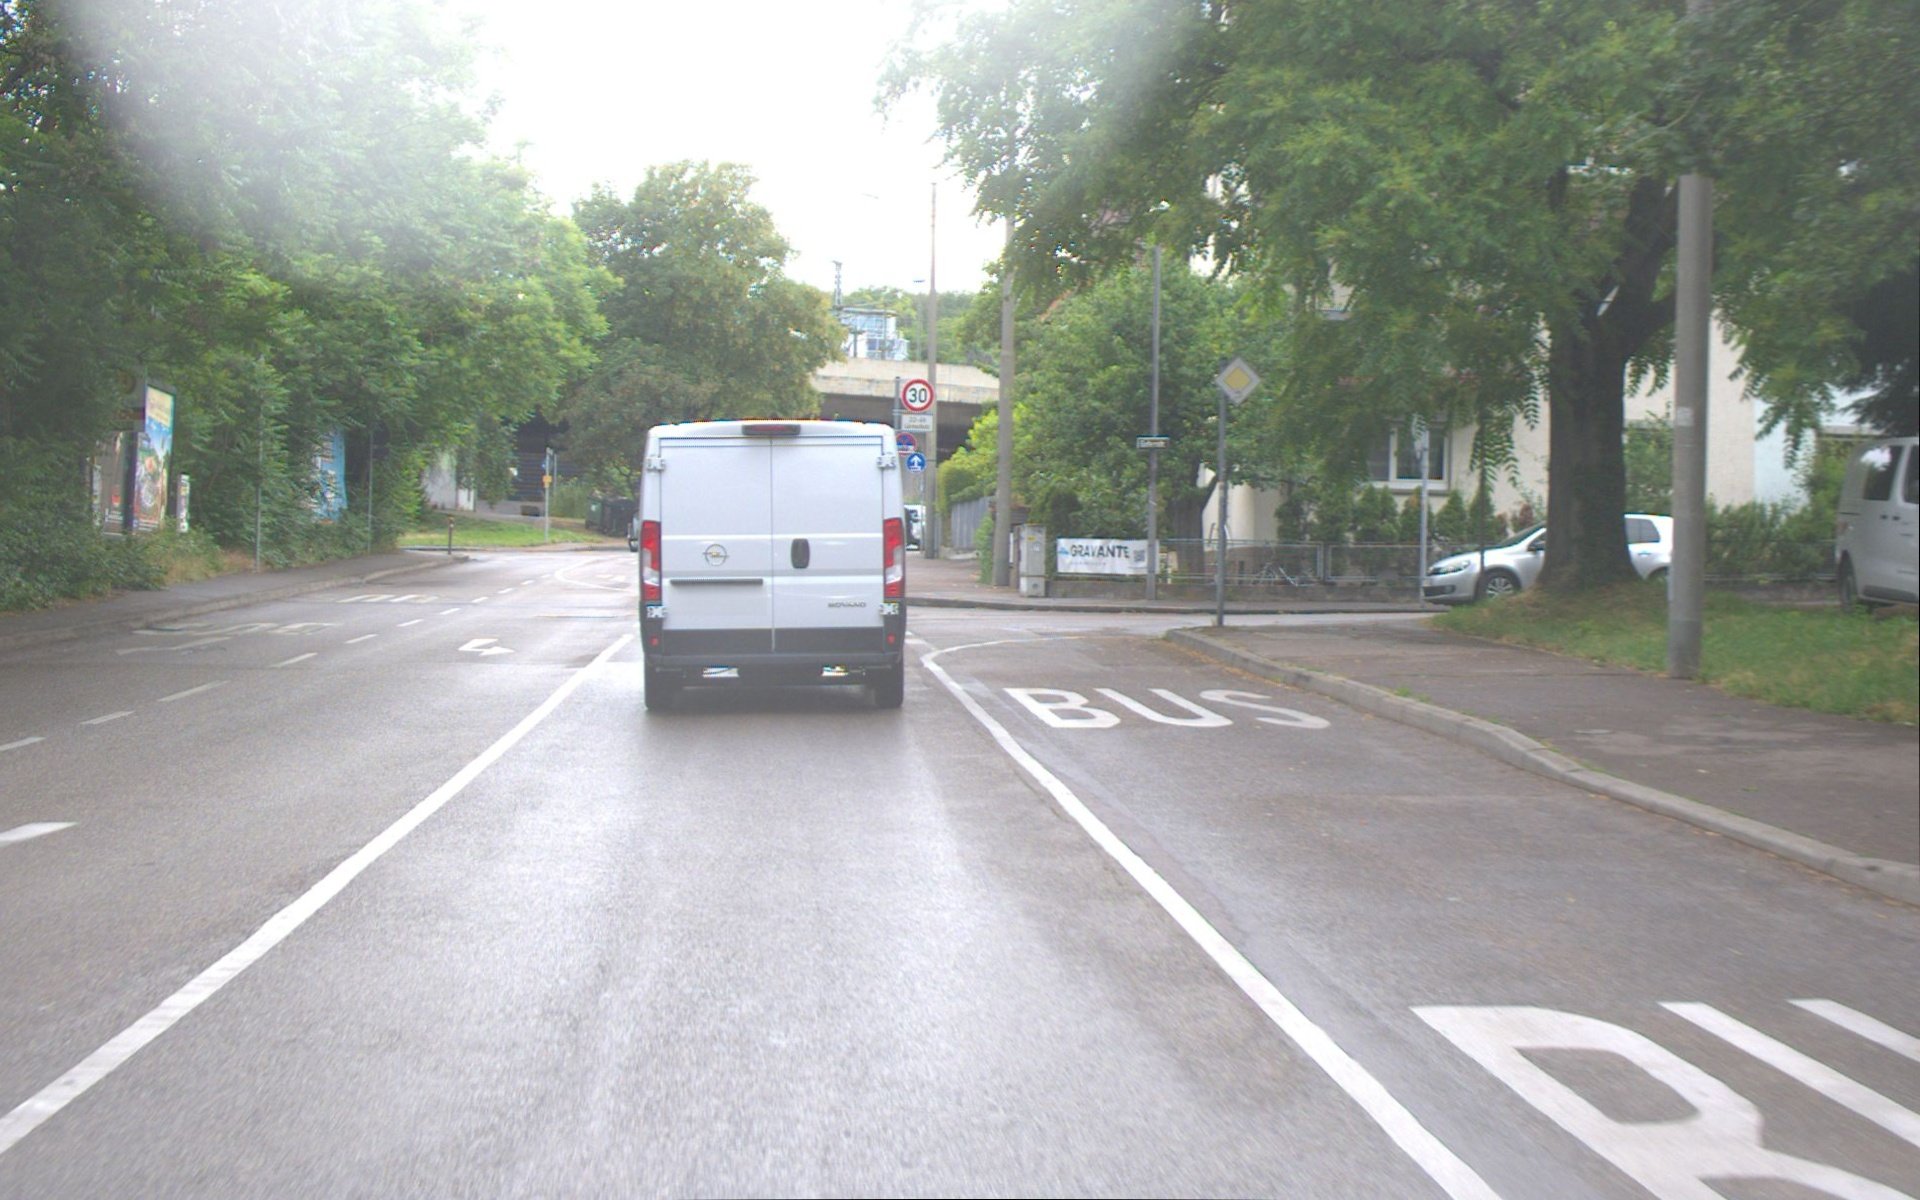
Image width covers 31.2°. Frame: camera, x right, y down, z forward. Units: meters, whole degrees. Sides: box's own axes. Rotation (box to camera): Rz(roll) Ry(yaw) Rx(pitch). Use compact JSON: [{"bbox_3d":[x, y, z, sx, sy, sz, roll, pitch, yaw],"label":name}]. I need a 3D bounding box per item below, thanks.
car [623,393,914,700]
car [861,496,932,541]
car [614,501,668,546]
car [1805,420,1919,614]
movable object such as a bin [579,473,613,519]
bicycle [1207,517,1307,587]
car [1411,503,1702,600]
[{"bbox_3d":[-1.535,-0.426,28.201,2.146,2.275,5.063,0,1,-2],"label":"car"},{"bbox_3d":[-2.210,-2.854,120.751,1.766,1.505,3.754,2,2,10],"label":"car"},{"bbox_3d":[-10.537,-2.553,113.594,1.653,1.412,3.936,-1,2,-4],"label":"car"},{"bbox_3d":[9.884,-0.766,33.352,1.993,1.798,5.147,3,1,0],"label":"car"},{"bbox_3d":[-13.363,-3.824,126.232,0.940,1.558,1.130,7,2,1],"label":"movable object such as a bin"},{"bbox_3d":[4.771,-0.770,55.271,1.571,1.111,0.457,0,2,1],"label":"bicycle"},{"bbox_3d":[8.923,-0.715,51.623,3.986,1.418,1.704,0,0,-6],"label":"car"}]
